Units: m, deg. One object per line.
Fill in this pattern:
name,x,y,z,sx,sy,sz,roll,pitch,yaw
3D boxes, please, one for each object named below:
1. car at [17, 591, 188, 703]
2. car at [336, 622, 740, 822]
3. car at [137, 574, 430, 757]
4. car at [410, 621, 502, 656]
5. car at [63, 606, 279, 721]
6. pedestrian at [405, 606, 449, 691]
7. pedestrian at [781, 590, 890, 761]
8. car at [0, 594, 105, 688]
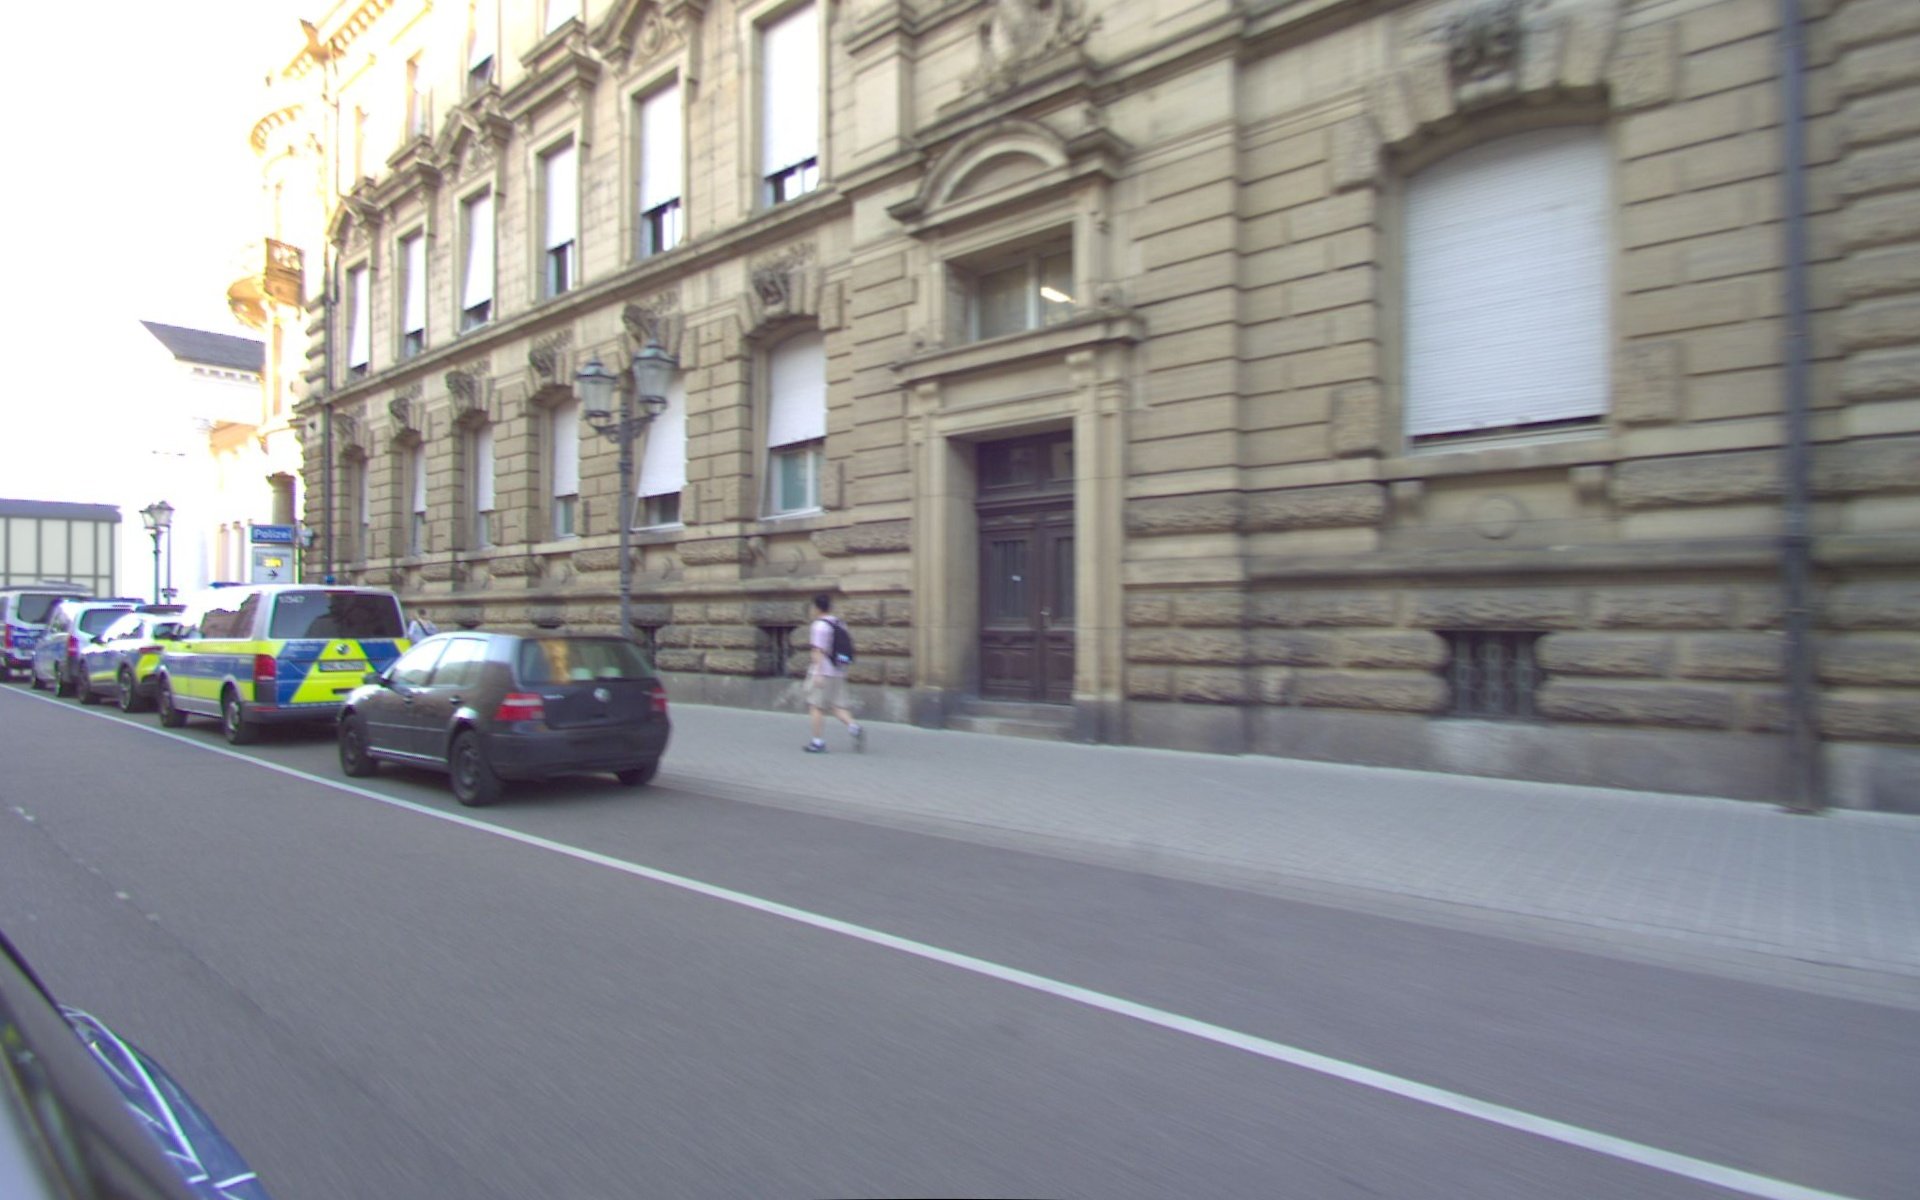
car,-18.339,0.936,21.556,5.204,2.103,1.973,-1,-2,41
car,-4.221,0.980,9.842,4.162,1.506,1.973,-1,-2,41
car,-9.406,0.779,13.896,4.985,2.093,1.974,-1,-1,39
car,-26.665,1.989,53.574,2.001,1.749,3.942,-1,-1,44
car,-14.088,1.027,17.962,4.985,1.765,1.974,-1,-2,39
pedestrian,-11.244,1.006,21.355,0.702,1.743,0.601,-1,-2,41
pedestrian,-1.350,0.786,10.980,0.896,1.743,0.706,-1,1,42
car,-23.836,0.996,25.872,5.199,2.188,1.975,-1,-1,38
